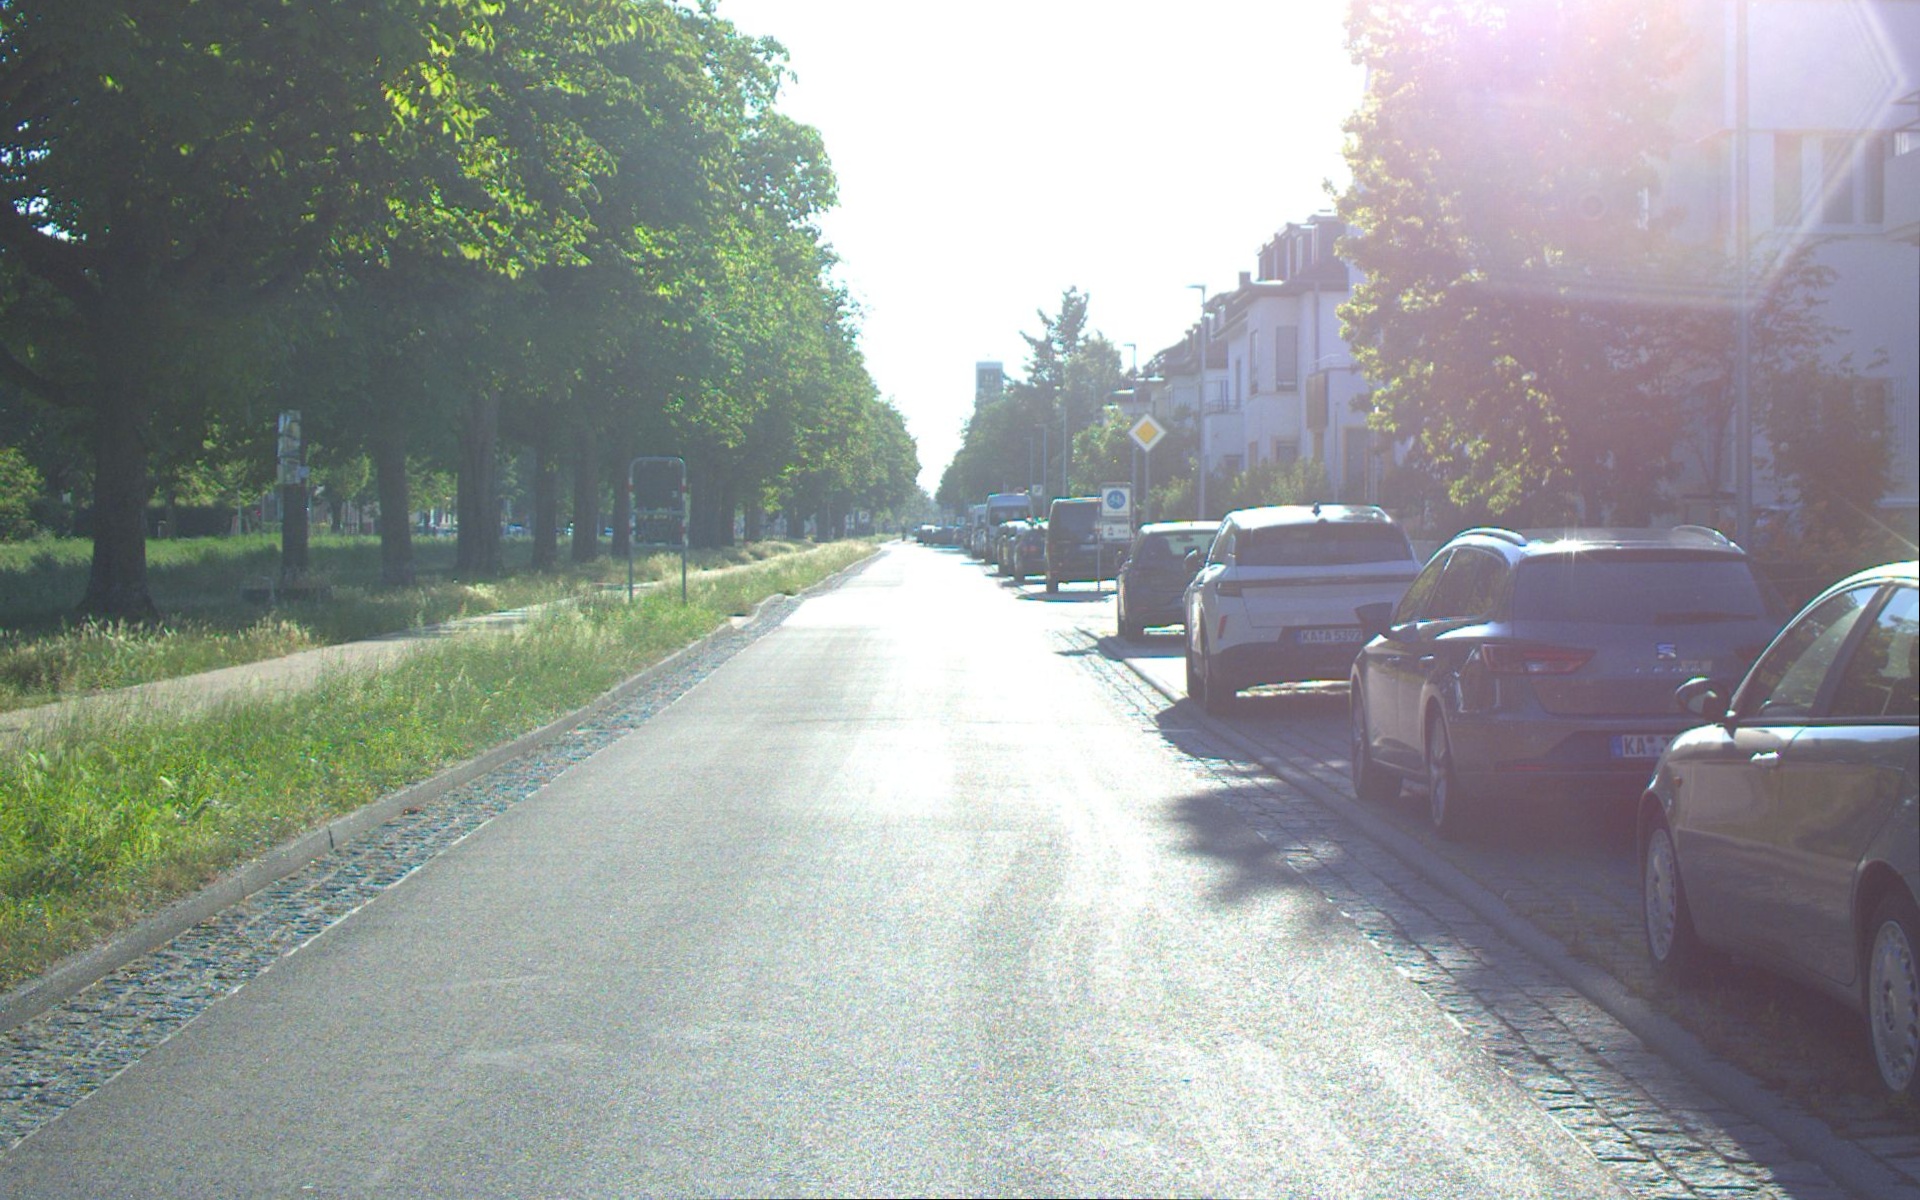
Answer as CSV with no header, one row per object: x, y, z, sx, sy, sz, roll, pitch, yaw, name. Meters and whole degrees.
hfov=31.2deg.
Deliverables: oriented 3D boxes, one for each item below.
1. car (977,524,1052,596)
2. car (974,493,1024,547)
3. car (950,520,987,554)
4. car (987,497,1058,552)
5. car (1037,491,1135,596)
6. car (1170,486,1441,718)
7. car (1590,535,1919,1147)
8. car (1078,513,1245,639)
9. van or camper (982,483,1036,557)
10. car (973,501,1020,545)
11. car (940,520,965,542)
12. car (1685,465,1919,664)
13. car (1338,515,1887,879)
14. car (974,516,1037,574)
1.406,-1.075,89.979,1.794,1.765,4.473,-2,1,-1,car
1.853,-3.858,165.586,2.126,2.524,5.189,-1,1,-2,car
0.407,-2.934,159.542,1.650,1.525,3.851,-1,1,1,car
1.844,-2.231,102.305,1.717,1.568,4.211,-2,1,-4,car
2.651,-1.231,73.444,1.906,2.124,4.814,-2,1,1,car
2.775,-0.057,28.518,1.905,1.702,4.575,-2,2,2,car
3.106,0.522,9.829,1.794,1.375,4.079,-2,1,0,car
2.514,-0.343,43.671,1.794,1.477,4.124,-2,1,-1,car
1.910,-3.111,135.471,1.943,2.768,5.940,2,0,0,van or camper
1.339,-2.886,128.676,1.663,1.587,4.086,2,1,0,car
-0.537,-5.098,253.305,1.650,1.525,3.851,4,1,1,car
9.406,-0.334,33.898,3.982,1.838,1.816,2,2,-6,car
3.001,0.358,16.678,1.794,1.489,4.194,-2,1,0,car
1.408,-1.729,107.688,1.832,1.679,4.415,2,2,0,car
